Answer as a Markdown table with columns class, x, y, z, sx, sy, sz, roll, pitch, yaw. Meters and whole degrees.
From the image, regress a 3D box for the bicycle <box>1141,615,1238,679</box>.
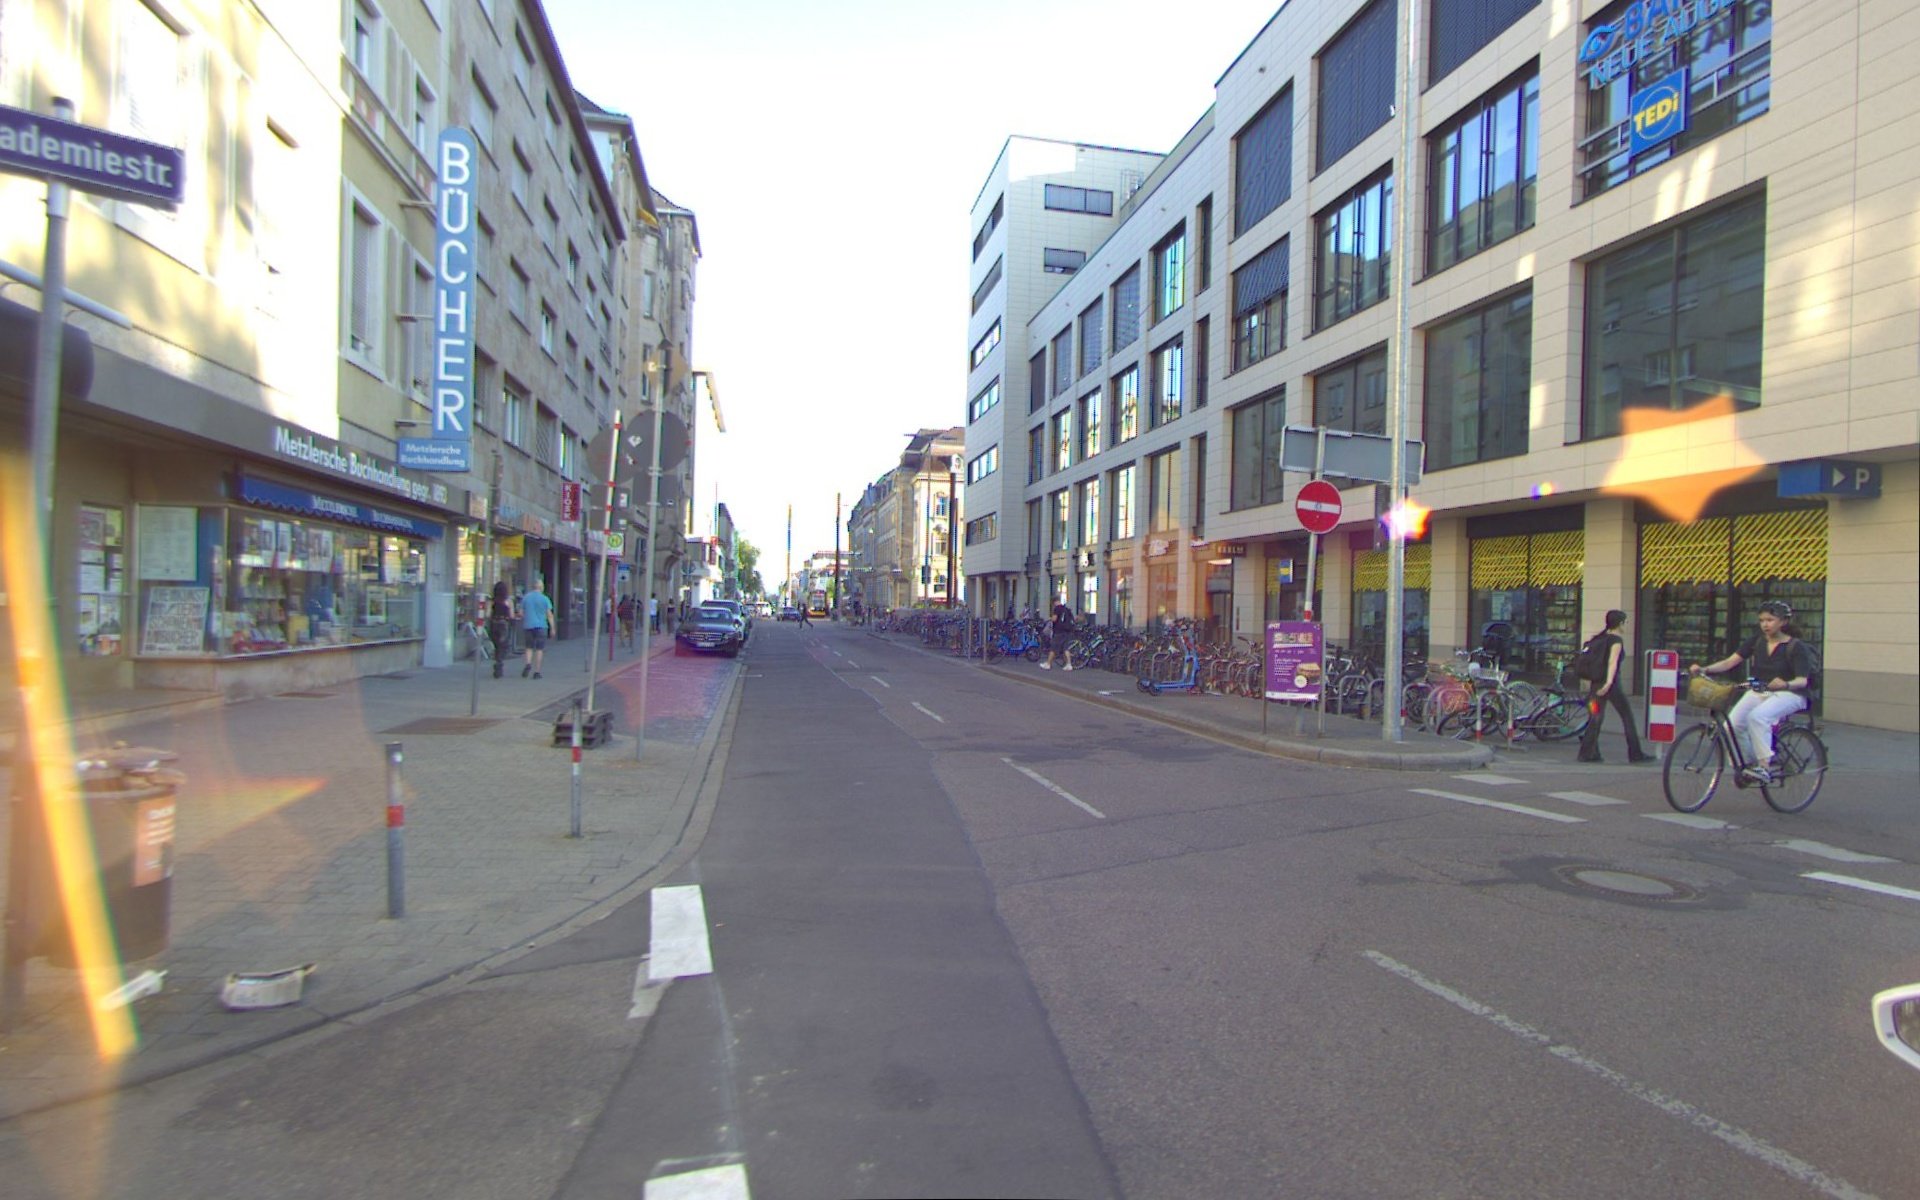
| class | x | y | z | sx | sy | sz | roll | pitch | yaw |
| --- | --- | --- | --- | --- | --- | --- | --- | --- | --- |
| bicycle | 4.867 | 0.991 | 21.281 | 1.945 | 1.271 | 0.512 | 2 | 0 | -13 |

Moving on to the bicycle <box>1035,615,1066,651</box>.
| class | x | y | z | sx | sy | sz | roll | pitch | yaw |
| --- | --- | --- | --- | --- | --- | --- | --- | --- | --- |
| bicycle | 3.421 | 1.239 | 37.984 | 0.505 | 1.271 | 1.973 | 2 | 0 | -14 |

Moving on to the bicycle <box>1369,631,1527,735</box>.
| class | x | y | z | sx | sy | sz | roll | pitch | yaw |
| --- | --- | --- | --- | --- | --- | --- | --- | --- | --- |
| bicycle | 6.329 | 1.081 | 13.023 | 1.946 | 1.271 | 0.512 | 2 | 0 | -16 |

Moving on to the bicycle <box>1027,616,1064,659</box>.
| class | x | y | z | sx | sy | sz | roll | pitch | yaw |
| --- | --- | --- | --- | --- | --- | --- | --- | --- | --- |
| bicycle | 2.711 | 1.181 | 32.027 | 0.505 | 1.271 | 1.973 | 2 | 0 | -14 |

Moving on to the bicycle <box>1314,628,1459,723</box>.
| class | x | y | z | sx | sy | sz | roll | pitch | yaw |
| --- | --- | --- | --- | --- | --- | --- | --- | --- | --- |
| bicycle | 6.107 | 1.079 | 14.385 | 1.945 | 1.271 | 0.512 | 2 | 0 | -13 |

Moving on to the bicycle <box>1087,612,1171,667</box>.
| class | x | y | z | sx | sy | sz | roll | pitch | yaw |
| --- | --- | --- | --- | --- | --- | --- | --- | --- | --- |
| bicycle | 4.145 | 0.969 | 24.661 | 1.945 | 1.271 | 0.512 | 2 | 0 | -13 |

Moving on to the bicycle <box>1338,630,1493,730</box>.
| class | x | y | z | sx | sy | sz | roll | pitch | yaw |
| --- | --- | --- | --- | --- | --- | --- | --- | --- | --- |
| bicycle | 6.177 | 1.082 | 13.627 | 1.944 | 1.271 | 0.512 | 2 | 0 | -11 |

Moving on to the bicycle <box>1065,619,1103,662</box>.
| class | x | y | z | sx | sy | sz | roll | pitch | yaw |
| --- | --- | --- | --- | --- | --- | --- | --- | --- | --- |
| bicycle | 3.984 | 1.298 | 32.356 | 0.505 | 1.271 | 1.973 | 2 | 0 | -14 |

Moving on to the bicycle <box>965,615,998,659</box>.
| class | x | y | z | sx | sy | sz | roll | pitch | yaw |
| --- | --- | --- | --- | --- | --- | --- | --- | --- | --- |
| bicycle | 0.654 | 1.148 | 31.539 | 0.505 | 1.271 | 1.973 | 2 | 0 | -14 |

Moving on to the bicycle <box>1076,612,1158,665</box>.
| class | x | y | z | sx | sy | sz | roll | pitch | yaw |
| --- | --- | --- | --- | --- | --- | --- | --- | --- | --- |
| bicycle | 3.979 | 0.975 | 25.472 | 1.945 | 1.271 | 0.512 | 2 | 0 | -13 |

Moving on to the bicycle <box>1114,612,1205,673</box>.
| class | x | y | z | sx | sy | sz | roll | pitch | yaw |
| --- | --- | --- | --- | --- | --- | --- | --- | --- | --- |
| bicycle | 4.497 | 0.958 | 22.656 | 1.945 | 1.271 | 0.512 | 2 | 0 | -13 |

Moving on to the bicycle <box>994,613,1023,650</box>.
| class | x | y | z | sx | sy | sz | roll | pitch | yaw |
| --- | --- | --- | --- | --- | --- | --- | --- | --- | --- |
| bicycle | 1.802 | 1.164 | 37.684 | 0.505 | 1.271 | 1.973 | 2 | 0 | -14 |

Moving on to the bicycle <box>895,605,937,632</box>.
| class | x | y | z | sx | sy | sz | roll | pitch | yaw |
| --- | --- | --- | --- | --- | --- | --- | --- | --- | --- |
| bicycle | -2.140 | 0.902 | 49.252 | 1.949 | 1.271 | 0.511 | 2 | 0 | -21 |

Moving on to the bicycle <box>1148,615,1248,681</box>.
| class | x | y | z | sx | sy | sz | roll | pitch | yaw |
| --- | --- | --- | --- | --- | --- | --- | --- | --- | --- |
| bicycle | 4.881 | 0.991 | 20.603 | 1.945 | 1.271 | 0.512 | 2 | 0 | -13 |

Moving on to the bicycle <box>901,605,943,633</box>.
| class | x | y | z | sx | sy | sz | roll | pitch | yaw |
| --- | --- | --- | --- | --- | --- | --- | --- | --- | --- |
| bicycle | -1.824 | 0.915 | 48.193 | 1.949 | 1.271 | 0.511 | 2 | 0 | -21 |

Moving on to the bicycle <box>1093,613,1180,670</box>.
| class | x | y | z | sx | sy | sz | roll | pitch | yaw |
| --- | --- | --- | --- | --- | --- | --- | --- | --- | --- |
| bicycle | 4.181 | 0.983 | 23.846 | 1.945 | 1.271 | 0.512 | 2 | 0 | -13 |

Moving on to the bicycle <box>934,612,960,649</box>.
| class | x | y | z | sx | sy | sz | roll | pitch | yaw |
| --- | --- | --- | --- | --- | --- | --- | --- | --- | --- |
| bicycle | -0.491 | 1.109 | 37.090 | 0.505 | 1.271 | 1.973 | 2 | 0 | -14 |

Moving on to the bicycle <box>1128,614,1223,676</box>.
| class | x | y | z | sx | sy | sz | roll | pitch | yaw |
| --- | --- | --- | --- | --- | --- | --- | --- | --- | --- |
| bicycle | 4.705 | 0.984 | 21.943 | 1.945 | 1.271 | 0.512 | 2 | 0 | -13 |

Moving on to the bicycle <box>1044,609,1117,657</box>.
| class | x | y | z | sx | sy | sz | roll | pitch | yaw |
| --- | --- | --- | --- | --- | --- | --- | --- | --- | --- |
| bicycle | 3.420 | 0.940 | 28.453 | 1.945 | 1.271 | 0.512 | 2 | 0 | -13 |

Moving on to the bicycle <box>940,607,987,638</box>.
| class | x | y | z | sx | sy | sz | roll | pitch | yaw |
| --- | --- | --- | --- | --- | --- | --- | --- | --- | --- |
| bicycle | 0.159 | 0.998 | 44.161 | 1.945 | 1.271 | 0.512 | 2 | 0 | -13 |

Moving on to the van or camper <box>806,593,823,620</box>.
| class | x | y | z | sx | sy | sz | roll | pitch | yaw |
| --- | --- | --- | --- | --- | --- | --- | --- | --- | --- |
| van or camper | -18.812 | 0.801 | 130.006 | 1.962 | 3.317 | 5.158 | 1 | 0 | -6 |

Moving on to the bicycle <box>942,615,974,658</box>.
| class | x | y | z | sx | sy | sz | roll | pitch | yaw |
| --- | --- | --- | --- | --- | --- | --- | --- | --- | --- |
| bicycle | -0.087 | 1.124 | 31.450 | 0.505 | 1.271 | 1.973 | 2 | 0 | -14 |

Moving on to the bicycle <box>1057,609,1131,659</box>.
| class | x | y | z | sx | sy | sz | roll | pitch | yaw |
| --- | --- | --- | --- | --- | --- | --- | --- | --- | --- |
| bicycle | 3.711 | 0.939 | 27.782 | 1.945 | 1.271 | 0.512 | 2 | 0 | -13 |

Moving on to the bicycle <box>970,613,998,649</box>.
| class | x | y | z | sx | sy | sz | roll | pitch | yaw |
| --- | --- | --- | --- | --- | --- | --- | --- | --- | --- |
| bicycle | 0.881 | 1.134 | 37.552 | 0.505 | 1.271 | 1.973 | 2 | 0 | -14 |

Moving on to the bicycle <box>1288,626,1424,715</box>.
| class | x | y | z | sx | sy | sz | roll | pitch | yaw |
| --- | --- | --- | --- | --- | --- | --- | --- | --- | --- |
| bicycle | 5.972 | 1.065 | 15.161 | 1.946 | 1.271 | 0.512 | 2 | 0 | -14 |

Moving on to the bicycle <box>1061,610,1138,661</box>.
| class | x | y | z | sx | sy | sz | roll | pitch | yaw |
| --- | --- | --- | --- | --- | --- | --- | --- | --- | --- |
| bicycle | 3.737 | 0.953 | 26.912 | 1.945 | 1.271 | 0.512 | 2 | 0 | -13 |

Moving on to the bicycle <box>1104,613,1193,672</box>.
| class | x | y | z | sx | sy | sz | roll | pitch | yaw |
| --- | --- | --- | --- | --- | --- | --- | --- | --- | --- |
| bicycle | 4.353 | 0.978 | 23.239 | 1.945 | 1.271 | 0.512 | 2 | 0 | -13 |

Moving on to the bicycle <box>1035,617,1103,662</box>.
| class | x | y | z | sx | sy | sz | roll | pitch | yaw |
| --- | --- | --- | --- | --- | --- | --- | --- | --- | --- |
| bicycle | 3.267 | 1.183 | 30.103 | 1.945 | 1.271 | 0.512 | 2 | 0 | -13 |

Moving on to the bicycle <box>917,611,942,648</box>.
| class | x | y | z | sx | sy | sz | roll | pitch | yaw |
| --- | --- | --- | --- | --- | --- | --- | --- | --- | --- |
| bicycle | -1.138 | 1.081 | 37.035 | 0.505 | 1.271 | 1.973 | 2 | 0 | -14 |

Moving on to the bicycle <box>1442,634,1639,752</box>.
| class | x | y | z | sx | sy | sz | roll | pitch | yaw |
| --- | --- | --- | --- | --- | --- | --- | --- | --- | --- |
| bicycle | 6.747 | 1.084 | 11.679 | 2.105 | 1.271 | 0.664 | 2 | 0 | -16 |

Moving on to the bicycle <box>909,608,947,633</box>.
| class | x | y | z | sx | sy | sz | roll | pitch | yaw |
| --- | --- | --- | --- | --- | --- | --- | --- | --- | --- |
| bicycle | -1.749 | 1.109 | 54.747 | 1.949 | 1.271 | 0.511 | 2 | 0 | -21 |

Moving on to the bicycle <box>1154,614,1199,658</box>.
| class | x | y | z | sx | sy | sz | roll | pitch | yaw |
| --- | --- | --- | --- | --- | --- | --- | --- | --- | --- |
| bicycle | 6.802 | 1.118 | 31.674 | 0.602 | 1.271 | 1.974 | 2 | 0 | -12 |

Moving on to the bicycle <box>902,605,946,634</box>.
| class | x | y | z | sx | sy | sz | roll | pitch | yaw |
| --- | --- | --- | --- | --- | --- | --- | --- | --- | --- |
| bicycle | -1.695 | 0.921 | 47.391 | 1.949 | 1.271 | 0.511 | 2 | 0 | -21 |

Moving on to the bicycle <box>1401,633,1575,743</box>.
| class | x | y | z | sx | sy | sz | roll | pitch | yaw |
| --- | --- | --- | --- | --- | --- | --- | --- | --- | --- |
| bicycle | 6.522 | 1.088 | 12.414 | 2.010 | 1.271 | 0.581 | 2 | 0 | -16 |

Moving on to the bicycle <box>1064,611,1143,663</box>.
| class | x | y | z | sx | sy | sz | roll | pitch | yaw |
| --- | --- | --- | --- | --- | --- | --- | --- | --- | --- |
| bicycle | 3.738 | 0.953 | 26.181 | 1.945 | 1.271 | 0.512 | 2 | 0 | -13 |

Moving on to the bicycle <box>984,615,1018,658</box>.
| class | x | y | z | sx | sy | sz | roll | pitch | yaw |
| --- | --- | --- | --- | --- | --- | --- | --- | --- | --- |
| bicycle | 1.276 | 1.139 | 31.728 | 0.505 | 1.271 | 1.973 | 2 | 0 | -14 |

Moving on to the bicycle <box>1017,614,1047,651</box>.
| class | x | y | z | sx | sy | sz | roll | pitch | yaw |
| --- | --- | --- | --- | --- | --- | --- | --- | --- | --- |
| bicycle | 2.678 | 1.209 | 37.762 | 0.505 | 1.271 | 1.973 | 2 | 0 | -14 |

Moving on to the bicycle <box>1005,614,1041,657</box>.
| class | x | y | z | sx | sy | sz | roll | pitch | yaw |
| --- | --- | --- | --- | --- | --- | --- | --- | --- | --- |
| bicycle | 1.981 | 1.115 | 31.861 | 0.505 | 1.271 | 1.973 | 2 | 0 | -14 |

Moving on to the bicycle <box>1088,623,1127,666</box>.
| class | x | y | z | sx | sy | sz | roll | pitch | yaw |
| --- | --- | --- | --- | --- | --- | --- | --- | --- | --- |
| bicycle | 4.732 | 1.401 | 32.314 | 0.505 | 1.271 | 1.973 | 2 | 0 | -14 |
